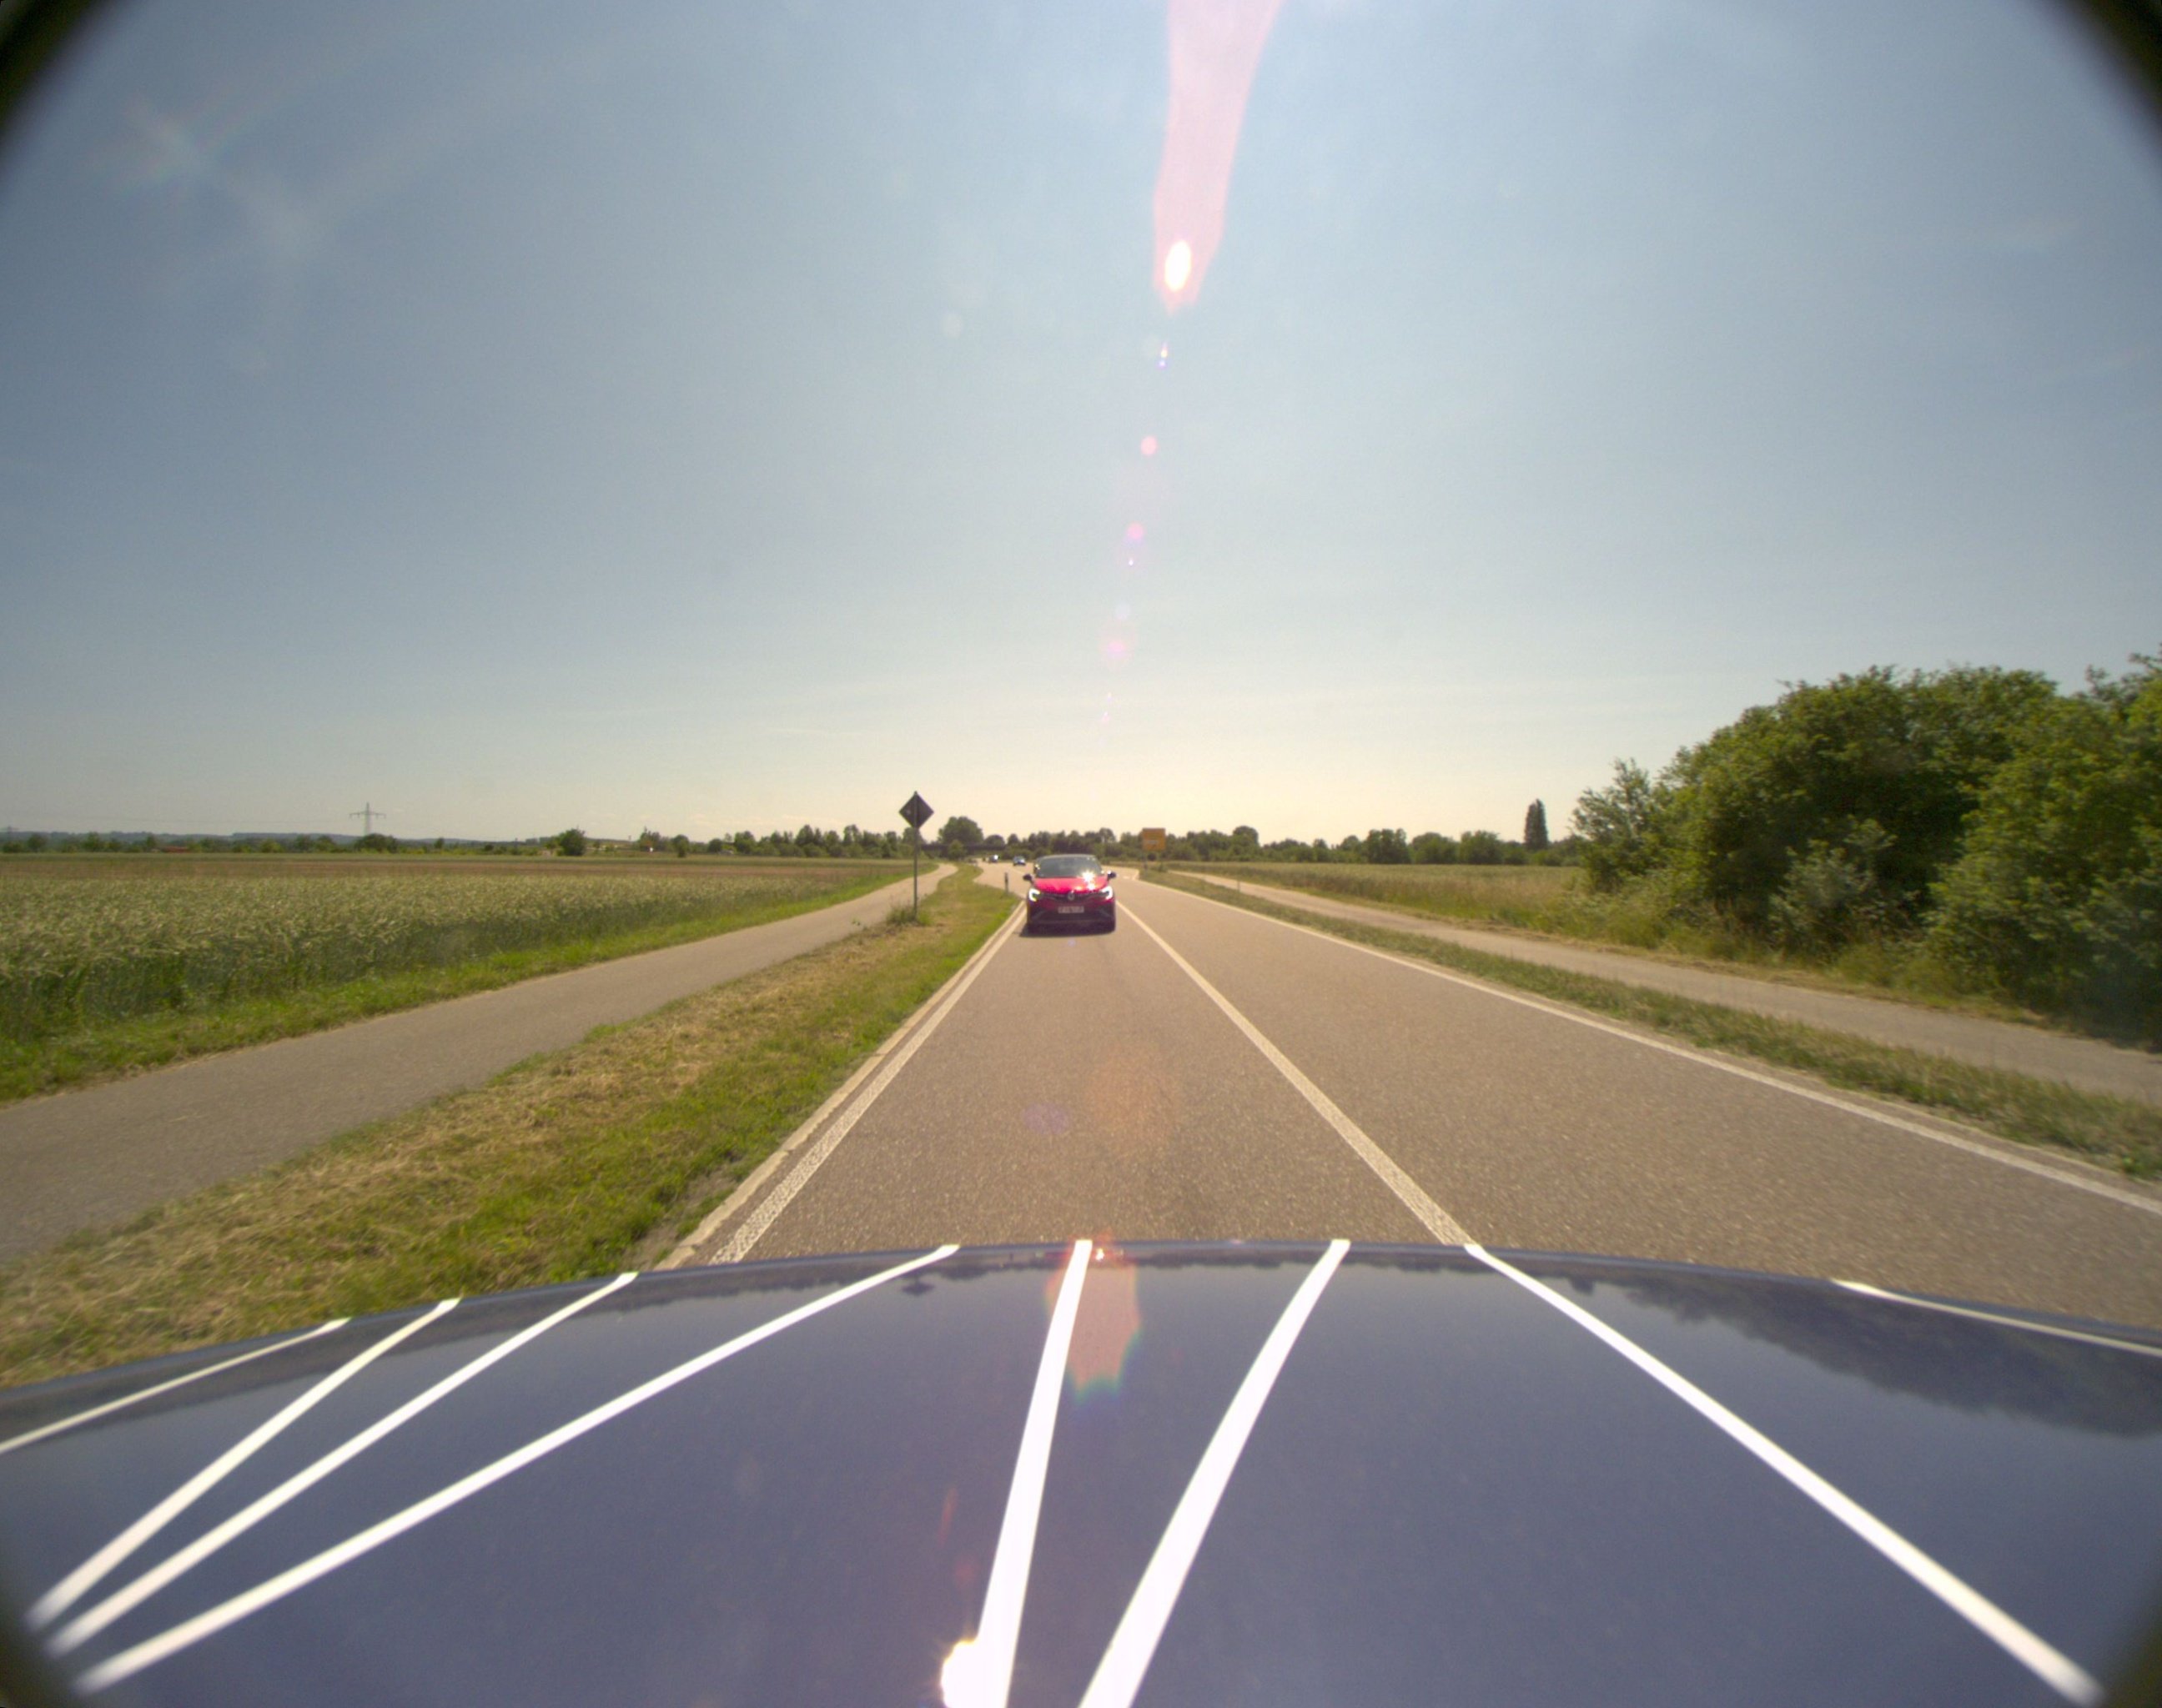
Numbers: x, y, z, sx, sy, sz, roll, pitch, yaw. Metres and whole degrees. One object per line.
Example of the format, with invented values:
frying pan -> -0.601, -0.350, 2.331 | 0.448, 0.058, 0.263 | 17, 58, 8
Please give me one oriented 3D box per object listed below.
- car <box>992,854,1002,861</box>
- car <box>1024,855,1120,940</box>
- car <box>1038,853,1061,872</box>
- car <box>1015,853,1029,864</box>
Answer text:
car -> -18.811, 0.736, 170.148 | 1.984, 1.587, 5.398 | -1, 0, -7
car -> -0.175, 0.848, 17.086 | 1.837, 1.587, 4.721 | -1, 0, 0
car -> -2.922, 0.775, 70.824 | 1.983, 1.587, 5.401 | -1, 0, -1
car -> -9.253, 0.712, 119.433 | 1.984, 1.587, 5.398 | -1, 0, -7
